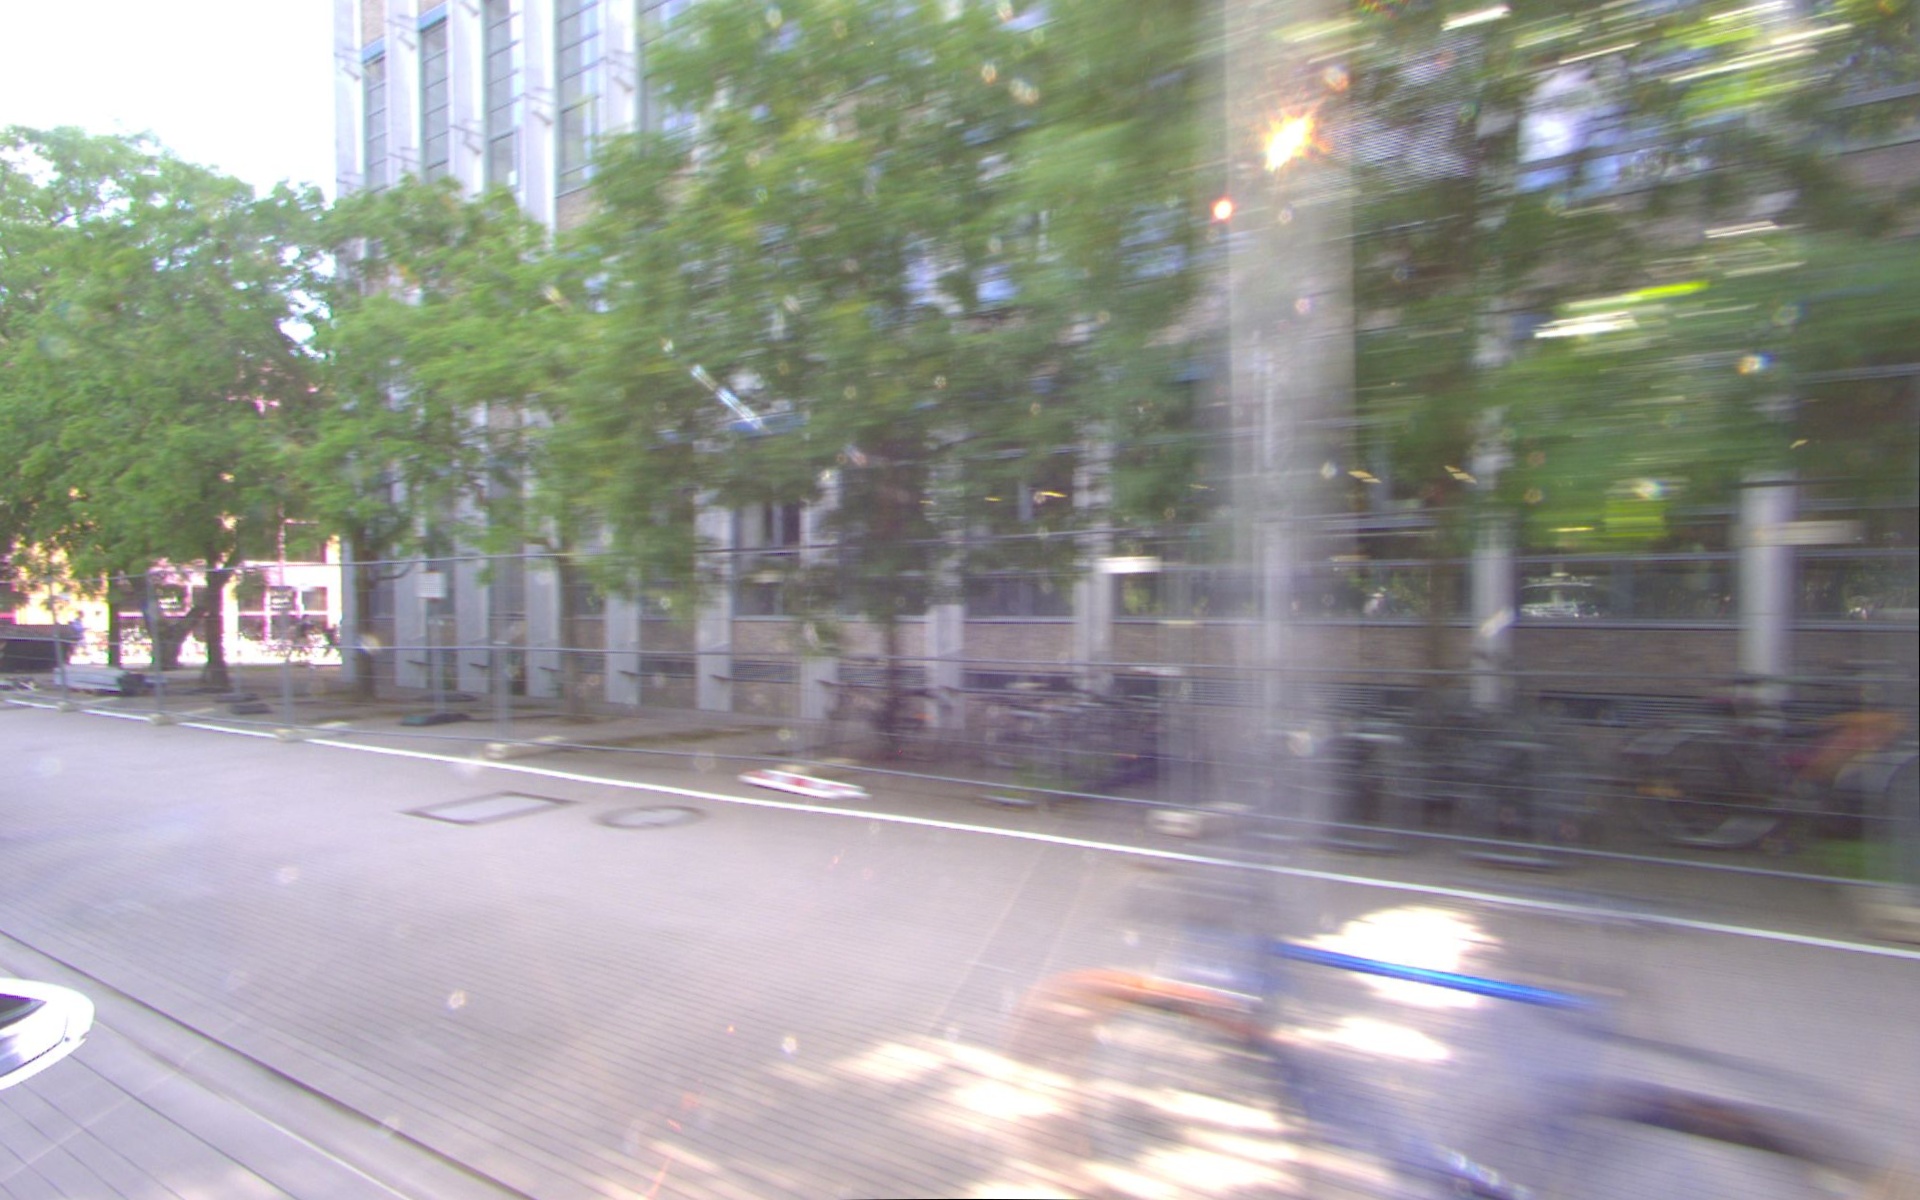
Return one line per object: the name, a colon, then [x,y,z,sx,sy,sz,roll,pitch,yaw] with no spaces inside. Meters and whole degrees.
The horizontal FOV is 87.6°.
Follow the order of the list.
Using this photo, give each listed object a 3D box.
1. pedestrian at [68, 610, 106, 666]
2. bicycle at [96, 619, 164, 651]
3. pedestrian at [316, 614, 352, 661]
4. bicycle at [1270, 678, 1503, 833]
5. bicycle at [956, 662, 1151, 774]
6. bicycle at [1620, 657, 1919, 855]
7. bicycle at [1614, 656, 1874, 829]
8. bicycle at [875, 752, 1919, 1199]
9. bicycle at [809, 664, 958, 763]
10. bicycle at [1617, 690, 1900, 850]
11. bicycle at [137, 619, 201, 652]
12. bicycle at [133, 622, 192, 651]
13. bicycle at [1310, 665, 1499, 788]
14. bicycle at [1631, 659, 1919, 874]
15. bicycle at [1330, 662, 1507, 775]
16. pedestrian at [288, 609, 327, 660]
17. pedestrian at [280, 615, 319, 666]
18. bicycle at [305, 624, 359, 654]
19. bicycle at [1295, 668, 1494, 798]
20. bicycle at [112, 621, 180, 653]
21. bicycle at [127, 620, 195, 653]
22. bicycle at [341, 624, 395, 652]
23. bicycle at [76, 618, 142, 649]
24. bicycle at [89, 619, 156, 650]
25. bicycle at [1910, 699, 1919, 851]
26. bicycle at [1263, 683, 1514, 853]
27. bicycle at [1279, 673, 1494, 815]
pedestrian: [-28.221,1.232,32.392,0.895,1.750,0.679,-1,-1,-41]
bicycle: [-29.929,1.285,36.139,0.517,1.124,1.804,0,-2,36]
pedestrian: [-23.446,1.398,37.506,0.674,1.750,0.901,-2,-1,28]
bicycle: [2.869,1.019,6.798,1.426,0.917,0.290,0,0,29]
bicycle: [0.830,1.050,9.158,1.775,0.917,0.290,0,0,24]
bicycle: [5.031,0.935,6.315,1.426,1.108,0.290,0,0,29]
bicycle: [5.544,0.977,7.163,1.426,1.113,0.290,0,0,29]
bicycle: [0.732,0.918,1.920,1.832,1.053,0.536,0,0,32]
bicycle: [-0.806,1.147,10.318,1.592,0.917,0.290,0,0,24]
bicycle: [5.207,1.086,6.617,1.426,0.899,0.290,0,0,29]
bicycle: [-27.595,1.251,34.961,0.468,1.124,1.689,0,-2,36]
bicycle: [-31.776,1.463,39.918,0.466,1.124,1.806,0,-2,26]
bicycle: [3.696,1.029,8.377,1.426,0.917,0.290,0,0,29]
bicycle: [4.868,0.950,5.956,1.426,1.143,0.290,0,0,29]
bicycle: [4.099,1.038,8.998,1.426,0.917,0.290,0,0,29]
pedestrian: [-22.529,1.187,34.573,0.674,1.750,0.901,-2,-1,28]
pedestrian: [-23.081,1.420,34.998,0.674,1.750,0.901,-2,-1,28]
bicycle: [-25.363,1.603,40.489,0.467,1.184,1.803,0,-2,33]
bicycle: [3.428,1.026,7.949,1.426,0.917,0.290,0,0,29]
bicycle: [-29.116,1.334,35.846,0.516,1.124,1.807,0,-2,32]
bicycle: [-28.457,1.298,35.669,0.517,1.124,1.804,0,-2,36]
bicycle: [-25.253,1.624,42.766,0.467,1.184,1.994,0,-2,31]
bicycle: [-32.126,1.276,37.827,0.516,1.124,1.807,0,-2,31]
bicycle: [-30.690,1.264,36.722,0.516,1.124,1.808,0,-2,29]
bicycle: [6.515,1.078,5.801,1.426,0.917,0.290,0,0,29]
bicycle: [2.664,1.014,6.294,1.426,0.917,0.290,0,0,29]
bicycle: [3.108,1.023,7.354,1.426,0.917,0.290,0,0,29]
